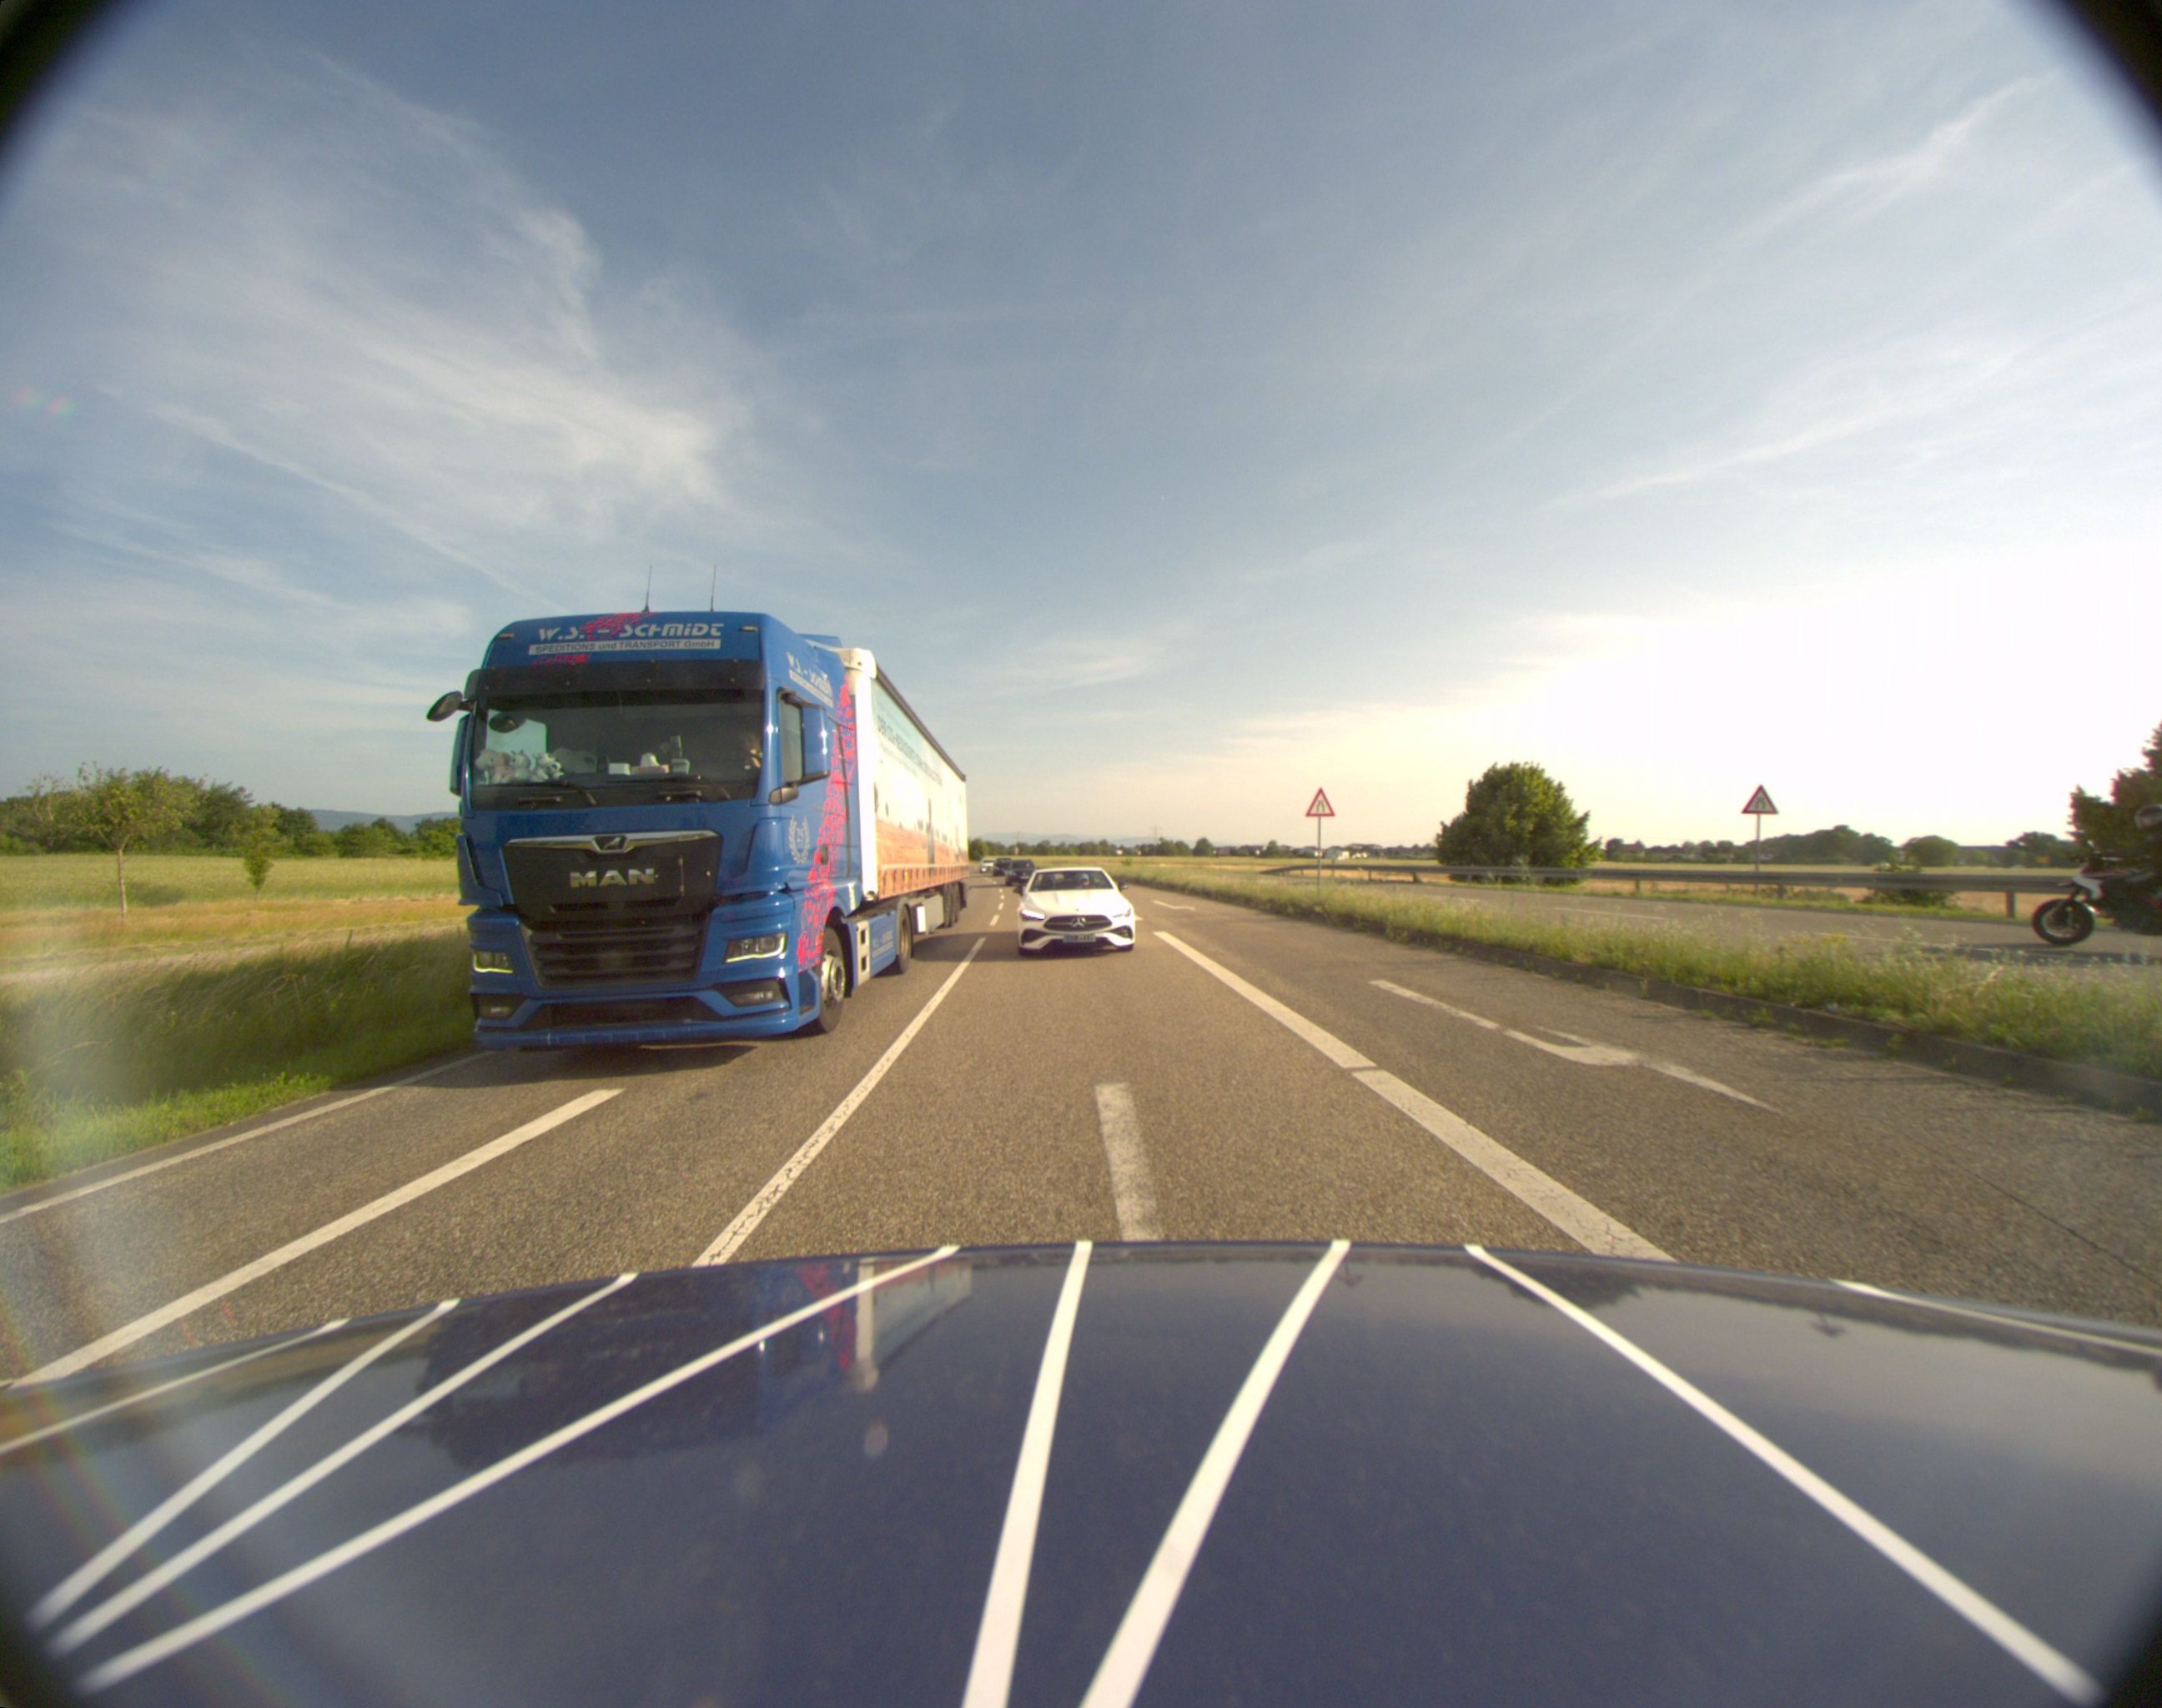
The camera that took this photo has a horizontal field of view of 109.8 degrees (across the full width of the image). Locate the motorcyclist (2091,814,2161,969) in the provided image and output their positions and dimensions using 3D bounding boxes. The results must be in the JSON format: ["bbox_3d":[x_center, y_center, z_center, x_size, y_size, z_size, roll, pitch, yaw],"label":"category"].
[{"bbox_3d":[12.638,0.408,8.759,0.906,1.748,0.831,-2,1,-6],"label":"motorcyclist"}]

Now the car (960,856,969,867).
[{"bbox_3d":[-20.964,1.264,136.574,1.558,1.909,4.032,-1,0,-8],"label":"car"}]

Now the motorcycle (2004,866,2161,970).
[{"bbox_3d":[12.639,0.736,8.897,0.940,1.118,2.170,-2,0,-5],"label":"motorcycle"}]

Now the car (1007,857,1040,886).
[{"bbox_3d":[-3.245,0.961,42.684,1.586,1.496,3.658,-1,0,-8],"label":"car"}]

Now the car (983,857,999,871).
[{"bbox_3d":[-9.316,0.992,78.761,1.558,1.392,4.032,-1,0,-8],"label":"car"}]

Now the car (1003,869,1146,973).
[{"bbox_3d":[-0.281,1.025,13.237,1.942,1.389,3.915,-2,0,-8],"label":"car"}]

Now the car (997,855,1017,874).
[{"bbox_3d":[-6.257,0.889,64.000,1.558,1.550,3.046,-1,0,-8],"label":"car"}]

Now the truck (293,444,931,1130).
[{"bbox_3d":[-3.735,-0.502,8.103,3.309,4.630,5.729,-2,1,-4],"label":"truck"}]

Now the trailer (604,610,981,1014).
[{"bbox_3d":[-4.206,-0.565,15.470,3.291,4.654,13.141,-2,1,-4],"label":"trailer"}]
